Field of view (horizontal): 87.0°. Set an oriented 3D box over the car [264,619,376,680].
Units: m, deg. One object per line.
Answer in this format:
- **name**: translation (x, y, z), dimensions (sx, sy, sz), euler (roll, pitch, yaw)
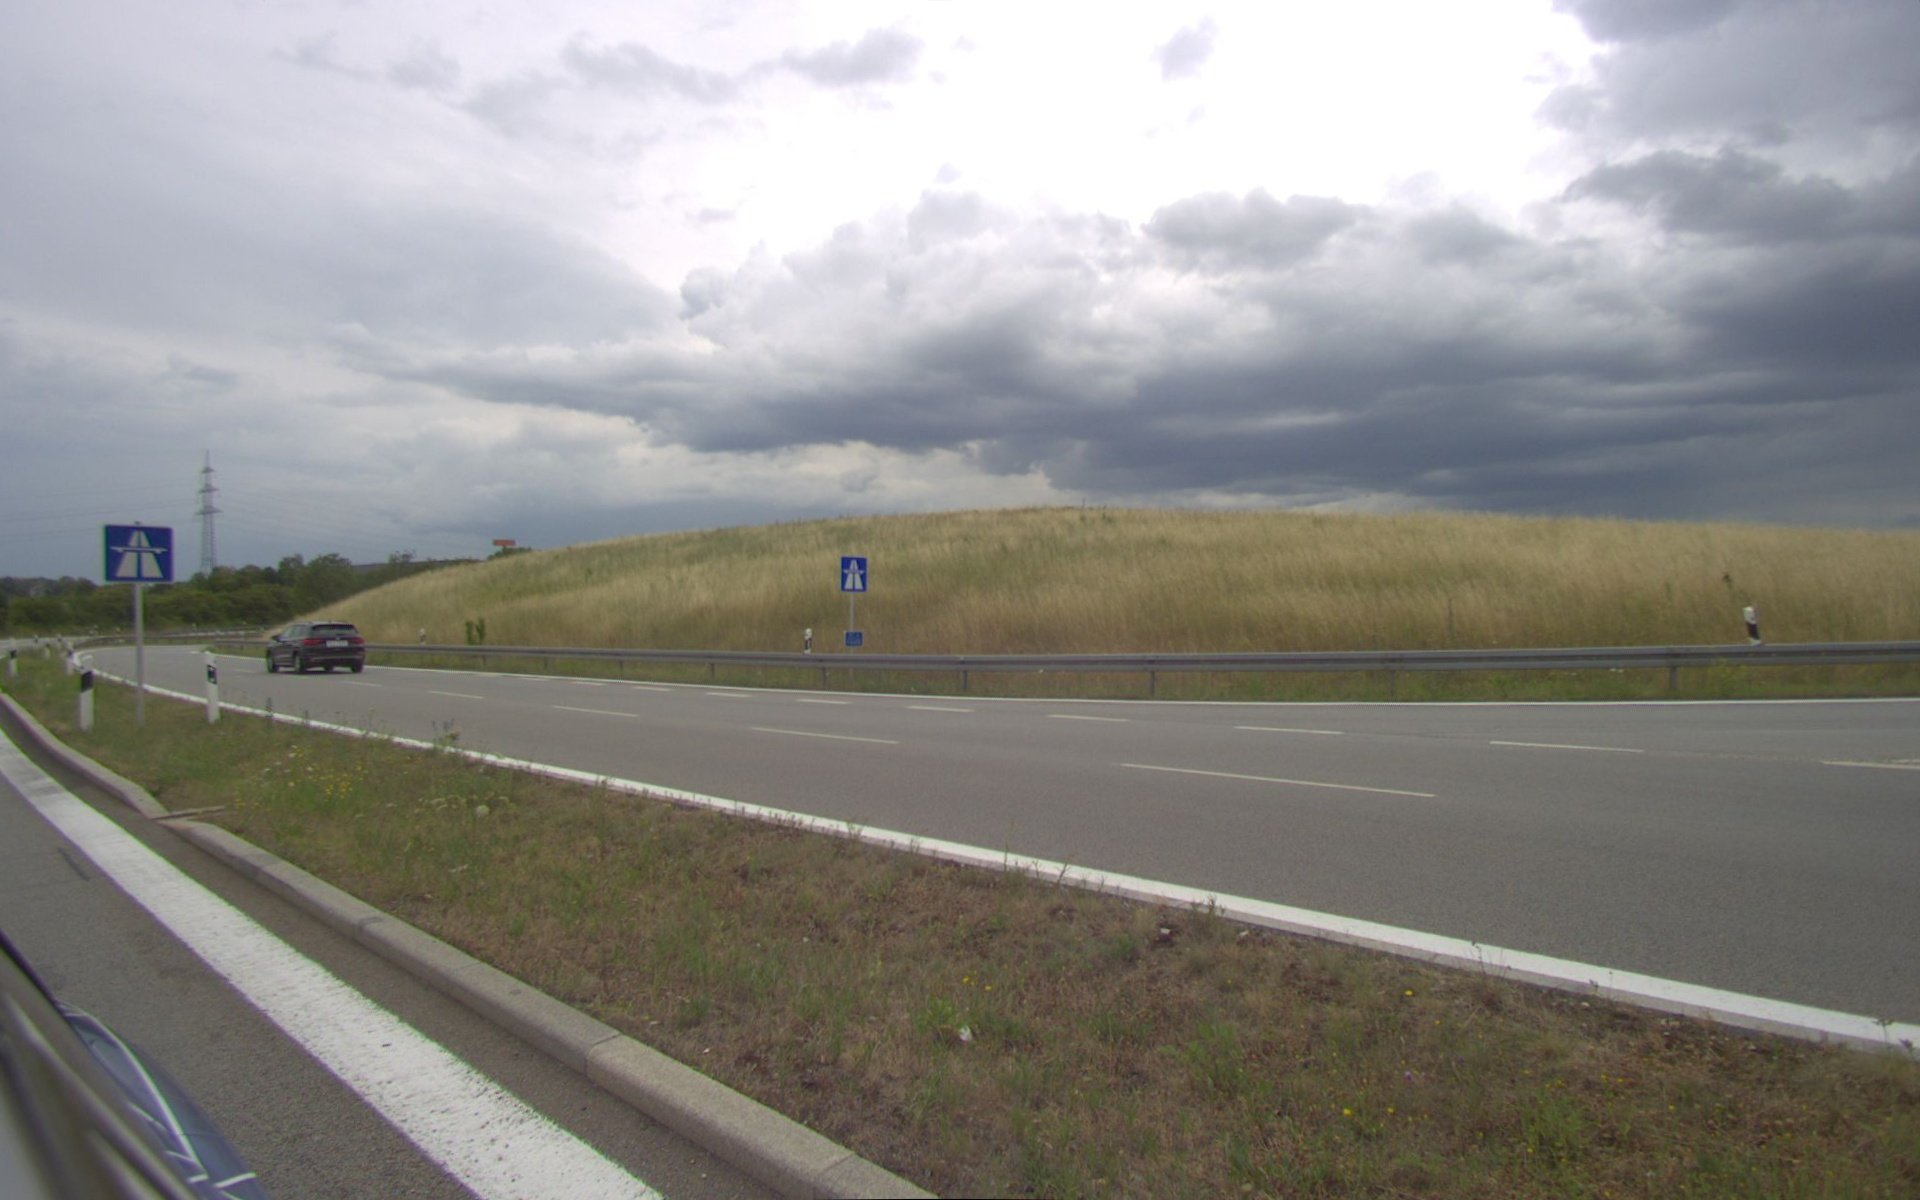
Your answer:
- **car**: translation (-20.010, 1.483, 31.587), dimensions (4.114, 1.696, 1.972), euler (-1, 0, 43)
